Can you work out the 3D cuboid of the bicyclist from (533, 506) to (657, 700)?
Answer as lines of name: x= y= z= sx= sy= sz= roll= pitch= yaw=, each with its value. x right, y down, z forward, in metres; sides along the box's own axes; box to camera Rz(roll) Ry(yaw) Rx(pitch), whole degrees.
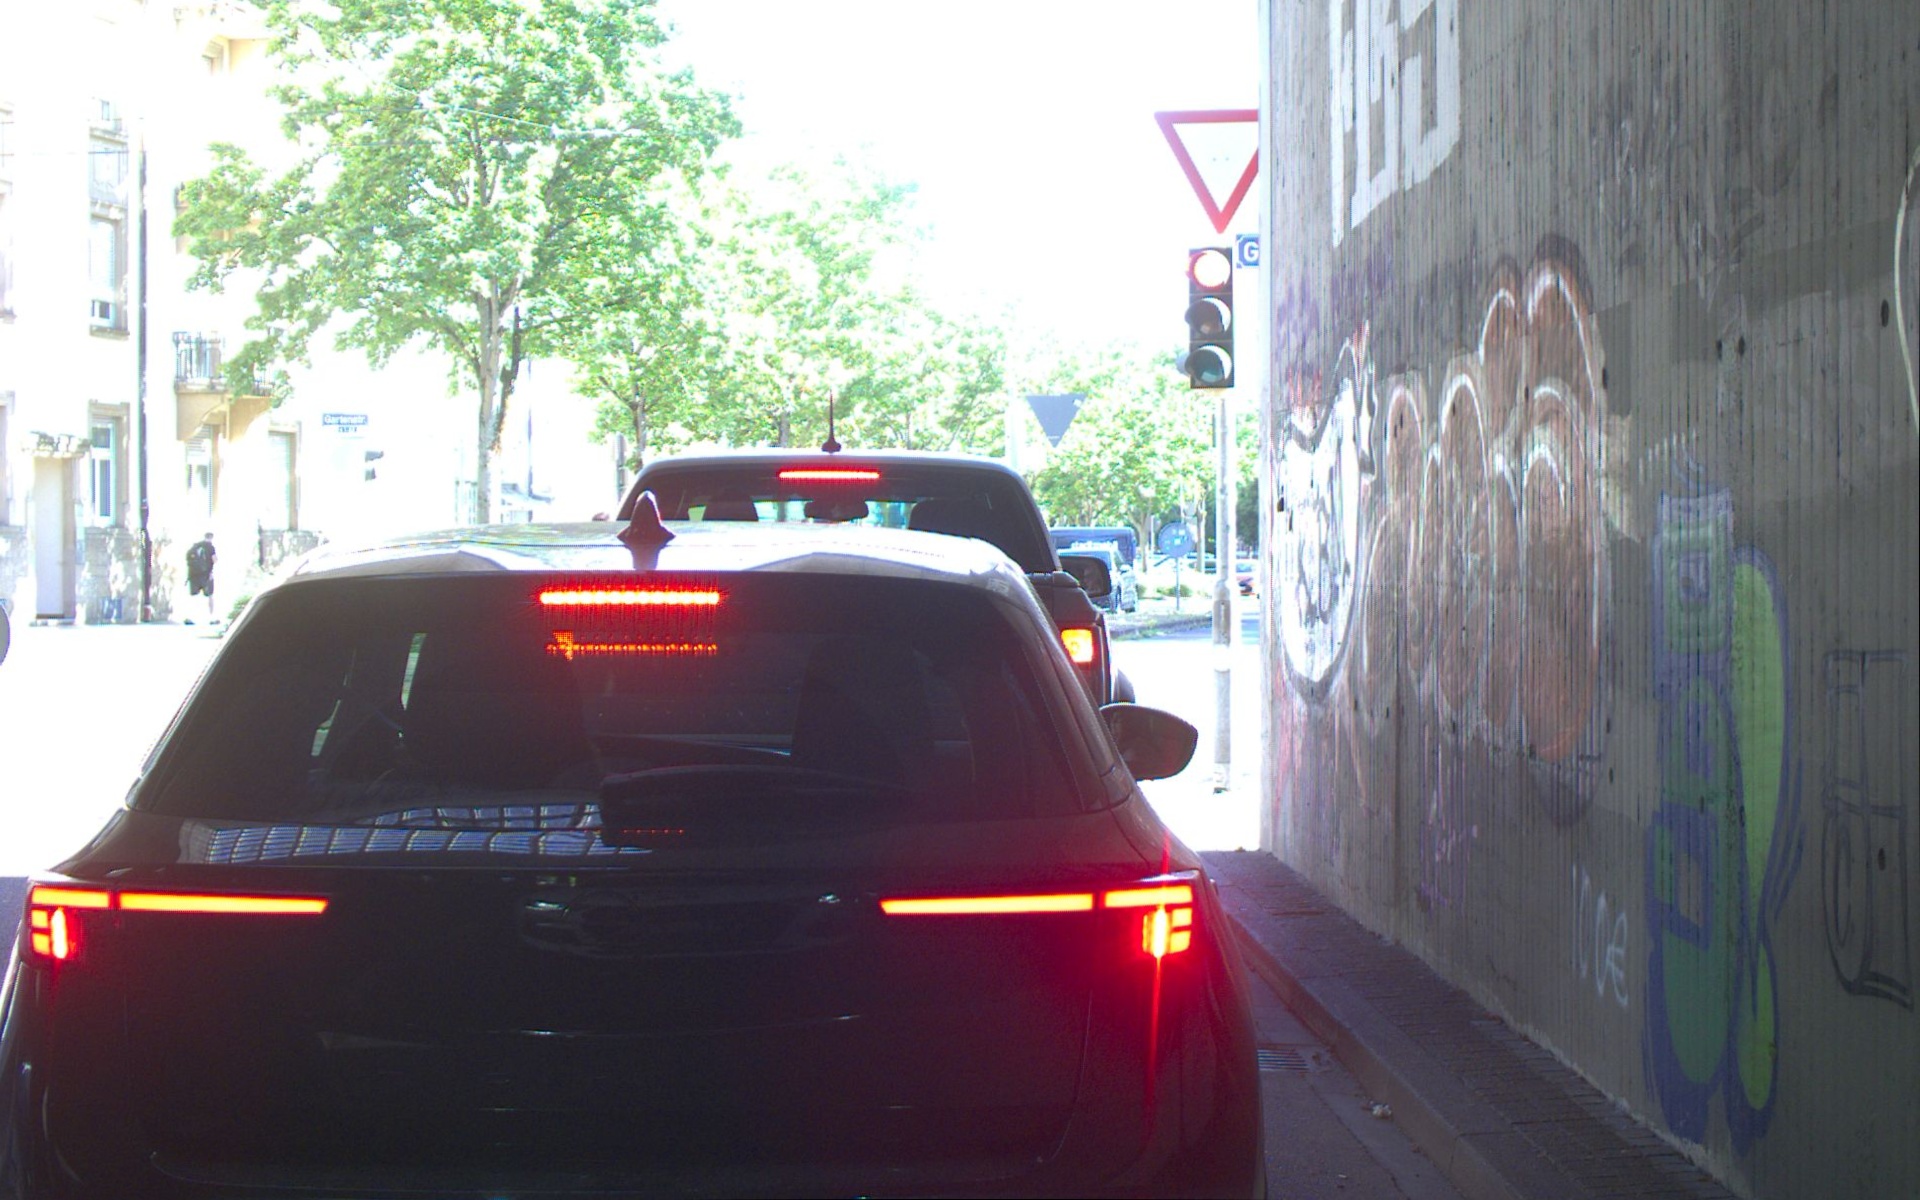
bicyclist: x=-2.788 y=0.012 z=26.345 sx=0.869 sy=1.447 sz=0.745 roll=-1 pitch=1 yaw=-2

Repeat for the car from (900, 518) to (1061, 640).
car: x=0.298 y=-0.236 z=44.158 sx=1.968 sy=1.492 sz=3.896 roll=0 pitch=-1 yaw=1

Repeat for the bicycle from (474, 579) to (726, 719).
bicycle: x=-2.744 y=0.366 z=26.369 sx=1.855 sy=1.005 sz=0.745 roll=-1 pitch=1 yaw=-2

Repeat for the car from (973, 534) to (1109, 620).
car: x=1.509 y=-0.390 z=62.180 sx=1.969 sy=1.492 sz=3.895 roll=0 pitch=-1 yaw=9

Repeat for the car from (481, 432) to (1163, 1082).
car: x=-0.417 y=0.415 z=11.877 sx=1.945 sy=1.853 sz=3.964 roll=0 pitch=1 yaw=-1

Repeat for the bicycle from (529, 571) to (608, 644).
bicycle: x=-5.856 y=0.102 z=51.501 sx=0.732 sy=1.064 sz=1.688 roll=1 pitch=1 yaw=9

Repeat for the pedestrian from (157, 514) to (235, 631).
pedestrian: x=-13.315 y=-0.483 z=59.941 sx=0.992 sy=2.007 sz=1.088 roll=0 pitch=1 yaw=8

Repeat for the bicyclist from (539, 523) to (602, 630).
bicyclist: x=-5.838 y=-0.354 z=51.527 sx=0.729 sy=1.576 sz=0.814 roll=1 pitch=0 yaw=9

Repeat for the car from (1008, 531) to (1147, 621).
car: x=2.395 y=-0.447 z=68.990 sx=2.221 sy=1.713 sz=4.458 roll=0 pitch=-1 yaw=10

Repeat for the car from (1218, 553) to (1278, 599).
car: x=10.773 y=-0.895 z=128.476 sx=1.994 sy=1.656 sz=3.999 roll=1 pitch=1 yaw=8

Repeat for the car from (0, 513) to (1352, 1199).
car: x=-0.498 y=0.633 z=6.055 sx=1.882 sy=1.532 sz=3.964 roll=0 pitch=1 yaw=-1
